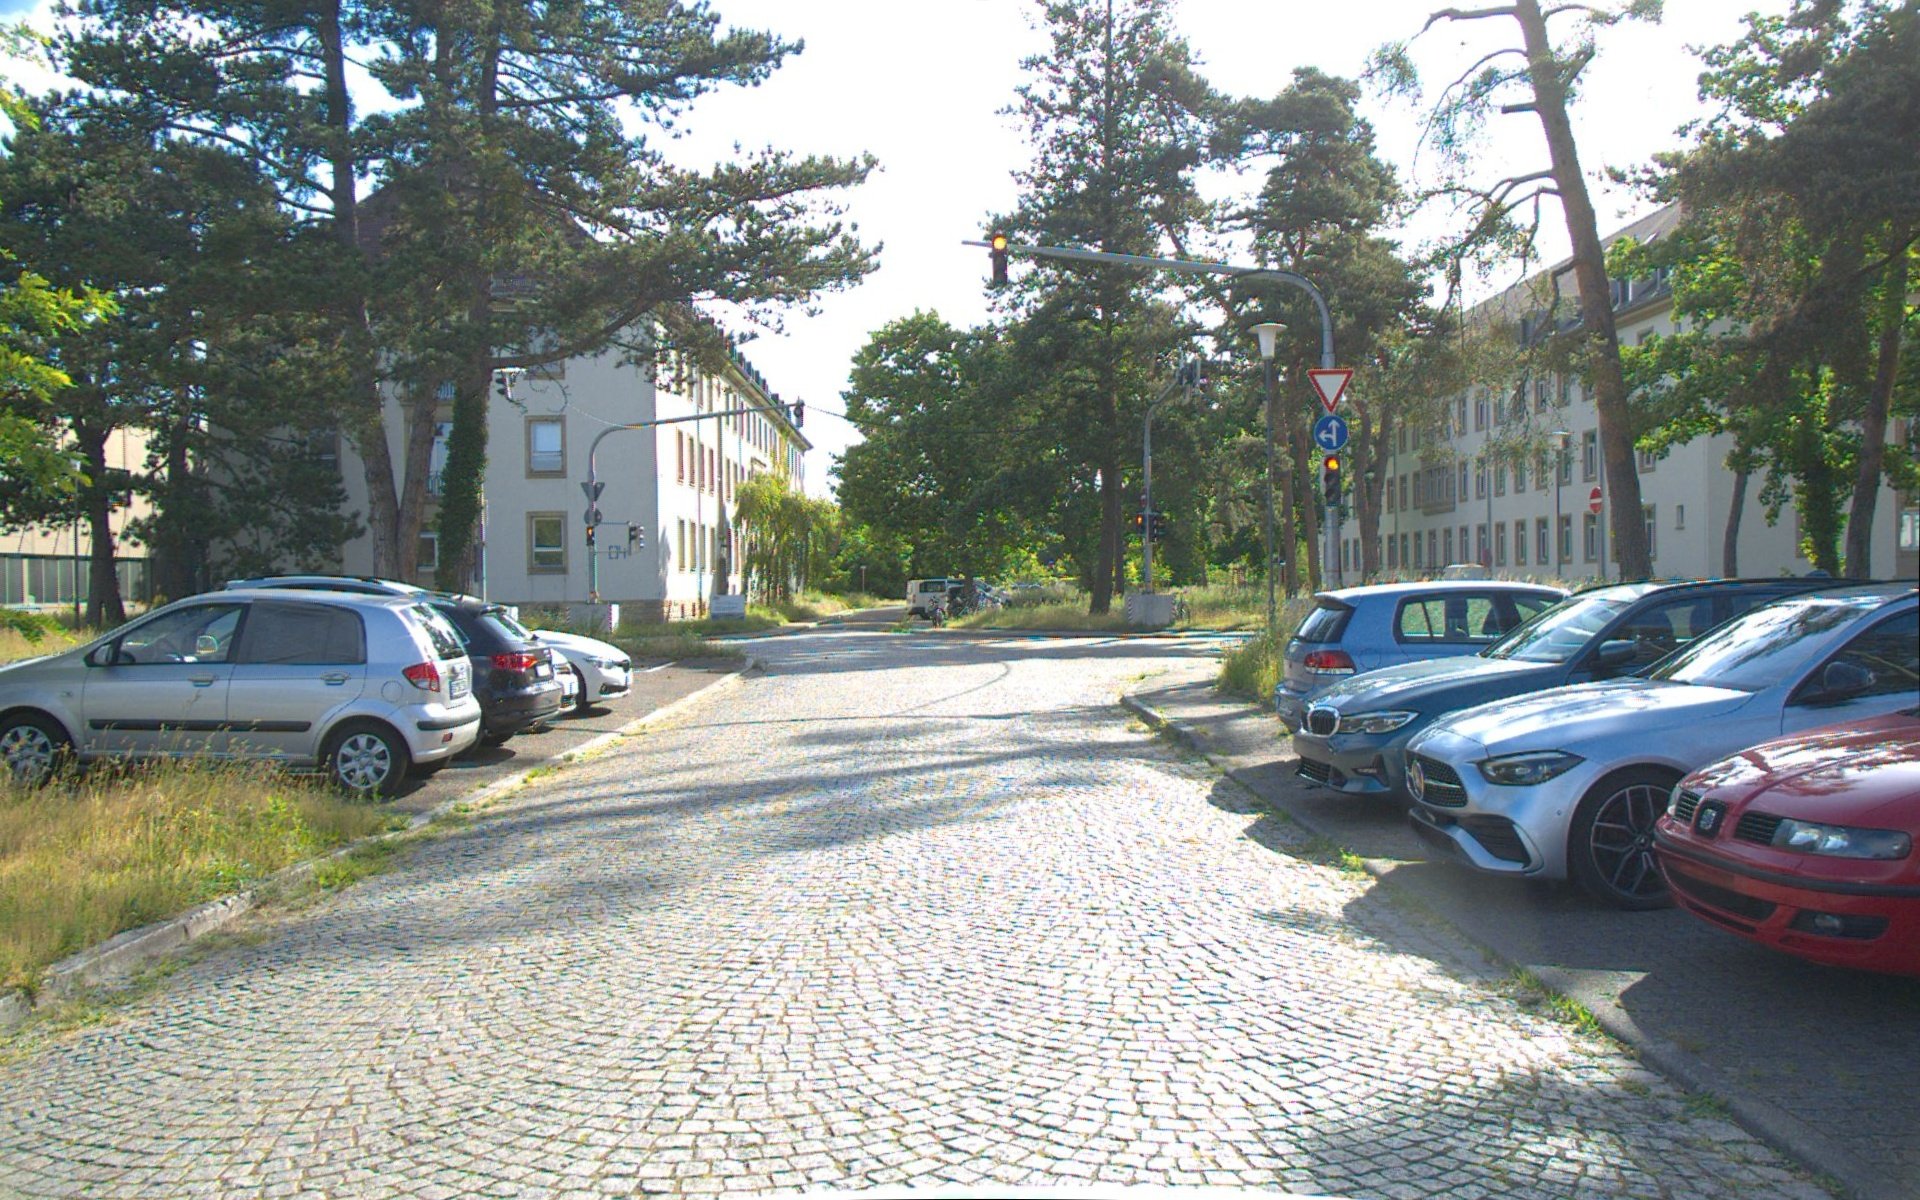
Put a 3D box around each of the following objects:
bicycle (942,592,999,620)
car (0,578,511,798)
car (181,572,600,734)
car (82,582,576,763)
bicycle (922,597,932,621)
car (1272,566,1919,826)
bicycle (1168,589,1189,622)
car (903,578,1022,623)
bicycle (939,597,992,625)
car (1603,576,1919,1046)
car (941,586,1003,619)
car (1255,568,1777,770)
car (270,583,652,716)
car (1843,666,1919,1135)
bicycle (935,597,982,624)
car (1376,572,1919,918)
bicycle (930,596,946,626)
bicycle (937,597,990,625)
[{"bbox_3d":[0.408,0.222,62.711,2.070,1.028,0.620,1,0,-9],"label":"bicycle"},{"bbox_3d":[-5.523,0.634,12.771,3.672,1.513,1.645,1,1,-4],"label":"car"},{"bbox_3d":[-6.195,0.552,18.376,3.999,1.621,1.884,1,1,-4],"label":"car"},{"bbox_3d":[-5.731,0.633,15.423,3.908,1.506,1.802,1,1,-4],"label":"car"},{"bbox_3d":[-1.439,0.379,72.335,0.409,1.028,1.483,1,0,0],"label":"bicycle"},{"bbox_3d":[4.503,0.581,11.124,4.466,1.440,1.636,-2,1,0],"label":"car"},{"bbox_3d":[6.700,0.163,50.711,0.294,0.977,1.584,1,0,-4],"label":"bicycle"},{"bbox_3d":[0.129,0.011,80.715,5.438,2.049,1.989,1,0,-19],"label":"car"},{"bbox_3d":[0.217,0.430,64.419,1.967,1.028,0.631,1,0,-9],"label":"bicycle"},{"bbox_3d":[4.776,0.618,6.226,4.043,1.474,1.636,-2,1,0],"label":"car"},{"bbox_3d":[0.527,0.123,77.186,2.727,1.492,1.669,1,0,-5],"label":"car"},{"bbox_3d":[4.548,0.531,13.905,3.803,1.440,1.636,-2,1,0],"label":"car"},{"bbox_3d":[-6.142,0.589,20.758,4.248,1.494,1.829,1,1,-4],"label":"car"},{"bbox_3d":[4.386,0.758,3.925,3.631,1.244,1.746,-2,1,0],"label":"car"},{"bbox_3d":[-0.054,0.429,66.171,1.803,1.028,0.635,1,0,-9],"label":"bicycle"},{"bbox_3d":[4.527,0.615,8.408,4.341,1.440,1.781,-2,1,0],"label":"car"},{"bbox_3d":[-0.777,0.395,59.083,0.458,1.028,1.584,1,0,-4],"label":"bicycle"},{"bbox_3d":[0.131,0.431,65.300,1.990,1.028,0.626,1,0,-9],"label":"bicycle"}]
